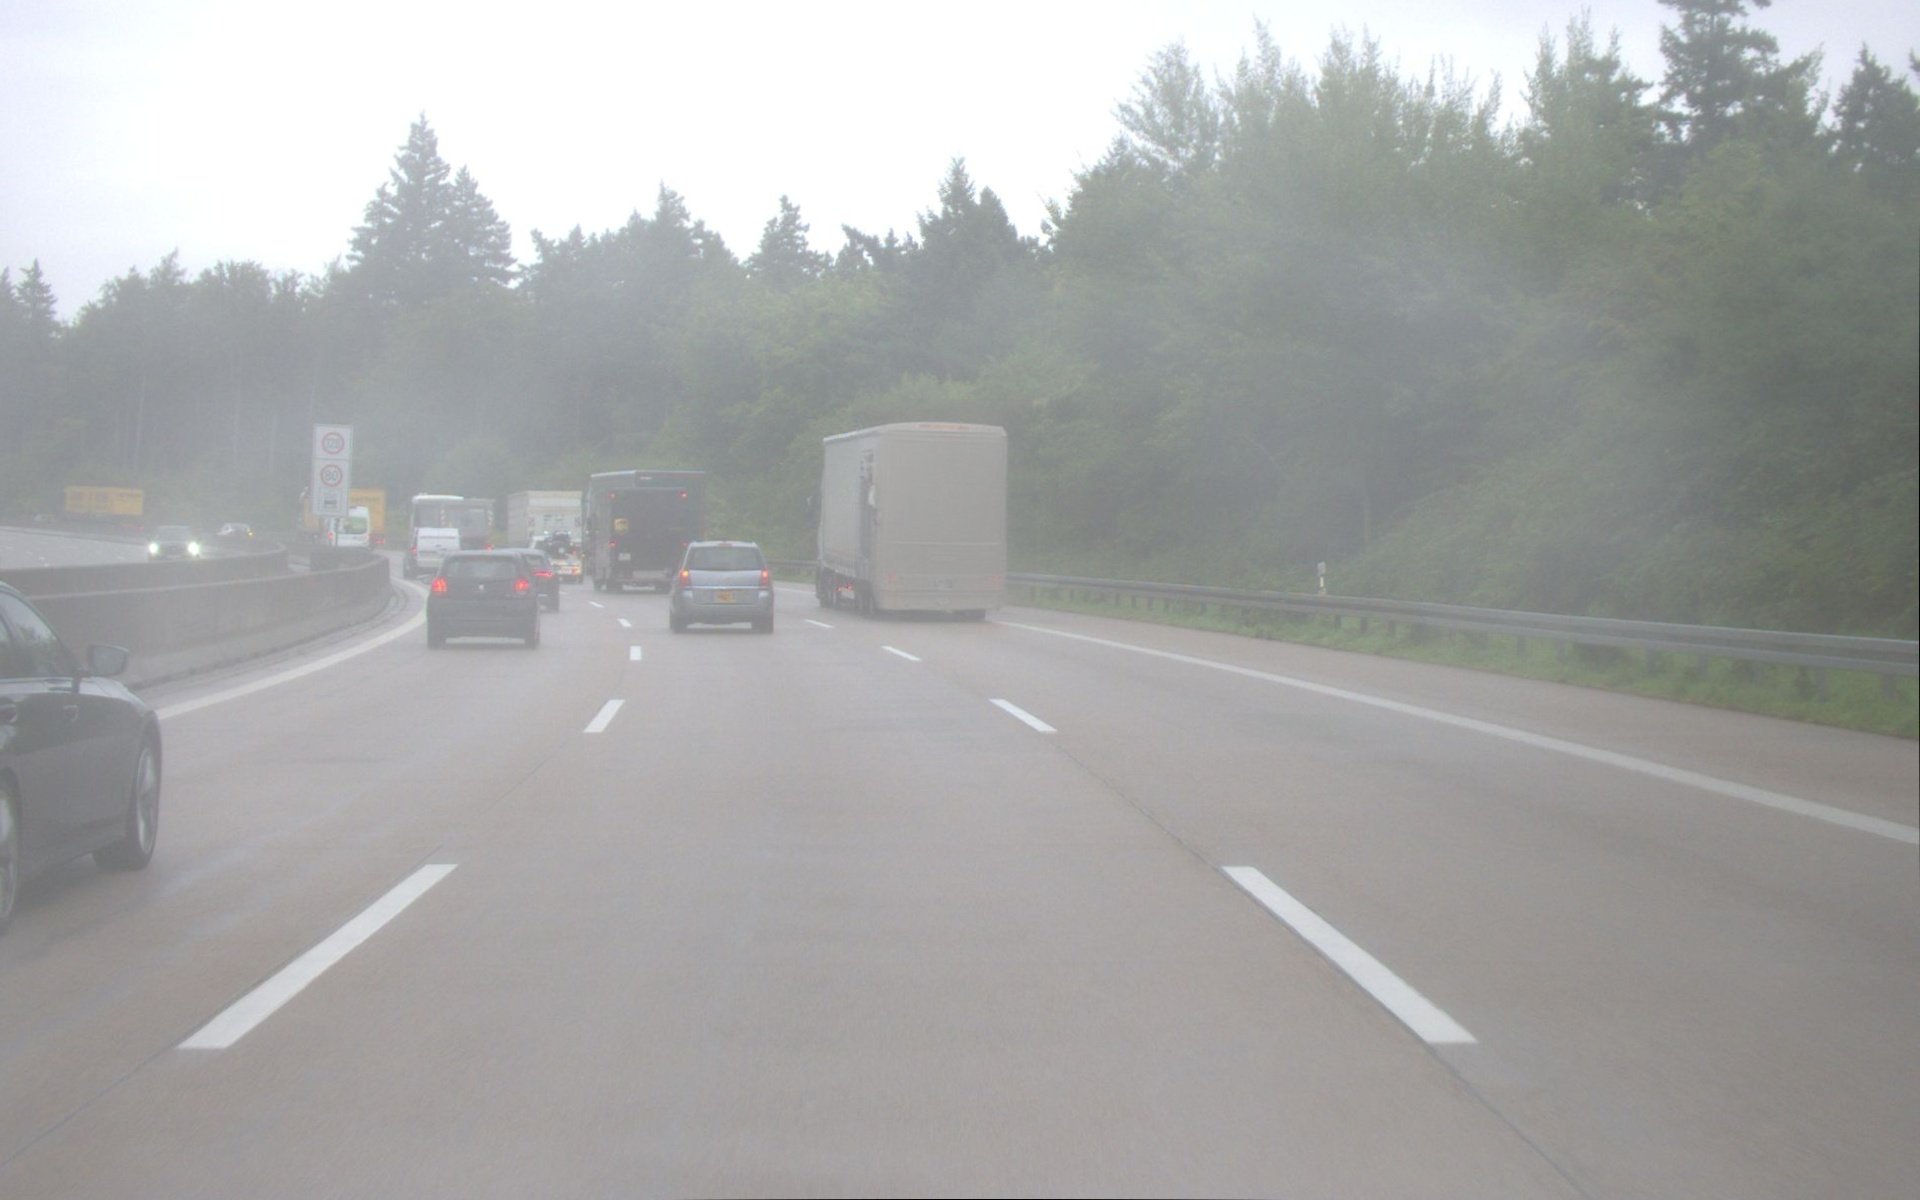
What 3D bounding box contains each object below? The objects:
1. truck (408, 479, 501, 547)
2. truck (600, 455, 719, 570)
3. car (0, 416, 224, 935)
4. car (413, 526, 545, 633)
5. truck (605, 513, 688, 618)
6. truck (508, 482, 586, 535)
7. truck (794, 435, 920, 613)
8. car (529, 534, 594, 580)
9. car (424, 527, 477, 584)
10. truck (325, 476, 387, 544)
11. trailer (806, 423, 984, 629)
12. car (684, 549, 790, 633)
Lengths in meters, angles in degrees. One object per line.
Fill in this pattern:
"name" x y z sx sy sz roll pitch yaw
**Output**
"truck" -23.259 -4.033 157.961 3.081 2.895 7.906 1 2 -17
"truck" -11.477 -3.304 130.291 3.368 4.117 10.441 1 1 -11
"car" -4.691 0.238 15.229 1.907 1.938 6.163 0 1 -4
"car" -7.187 -0.337 51.650 1.683 1.457 3.684 3 1 -5
"truck" -9.376 -1.103 103.267 2.269 2.877 7.905 1 2 -4
"truck" -19.494 -4.324 161.984 2.973 2.301 6.669 3 1 -12
"truck" -2.497 -1.815 81.702 2.419 4.054 4.980 1 1 -8
"car" -13.755 -1.488 118.727 1.881 1.468 4.001 3 1 -3
"car" -18.232 -1.601 123.097 1.725 2.007 3.657 0 1 -7
"truck" -38.232 -5.656 217.773 3.739 4.195 6.820 0 1 -9
"trailer" -1.562 -1.625 74.437 2.419 4.054 12.058 1 1 -8
"car" -3.912 -0.188 60.788 1.554 1.347 3.684 3 1 0
